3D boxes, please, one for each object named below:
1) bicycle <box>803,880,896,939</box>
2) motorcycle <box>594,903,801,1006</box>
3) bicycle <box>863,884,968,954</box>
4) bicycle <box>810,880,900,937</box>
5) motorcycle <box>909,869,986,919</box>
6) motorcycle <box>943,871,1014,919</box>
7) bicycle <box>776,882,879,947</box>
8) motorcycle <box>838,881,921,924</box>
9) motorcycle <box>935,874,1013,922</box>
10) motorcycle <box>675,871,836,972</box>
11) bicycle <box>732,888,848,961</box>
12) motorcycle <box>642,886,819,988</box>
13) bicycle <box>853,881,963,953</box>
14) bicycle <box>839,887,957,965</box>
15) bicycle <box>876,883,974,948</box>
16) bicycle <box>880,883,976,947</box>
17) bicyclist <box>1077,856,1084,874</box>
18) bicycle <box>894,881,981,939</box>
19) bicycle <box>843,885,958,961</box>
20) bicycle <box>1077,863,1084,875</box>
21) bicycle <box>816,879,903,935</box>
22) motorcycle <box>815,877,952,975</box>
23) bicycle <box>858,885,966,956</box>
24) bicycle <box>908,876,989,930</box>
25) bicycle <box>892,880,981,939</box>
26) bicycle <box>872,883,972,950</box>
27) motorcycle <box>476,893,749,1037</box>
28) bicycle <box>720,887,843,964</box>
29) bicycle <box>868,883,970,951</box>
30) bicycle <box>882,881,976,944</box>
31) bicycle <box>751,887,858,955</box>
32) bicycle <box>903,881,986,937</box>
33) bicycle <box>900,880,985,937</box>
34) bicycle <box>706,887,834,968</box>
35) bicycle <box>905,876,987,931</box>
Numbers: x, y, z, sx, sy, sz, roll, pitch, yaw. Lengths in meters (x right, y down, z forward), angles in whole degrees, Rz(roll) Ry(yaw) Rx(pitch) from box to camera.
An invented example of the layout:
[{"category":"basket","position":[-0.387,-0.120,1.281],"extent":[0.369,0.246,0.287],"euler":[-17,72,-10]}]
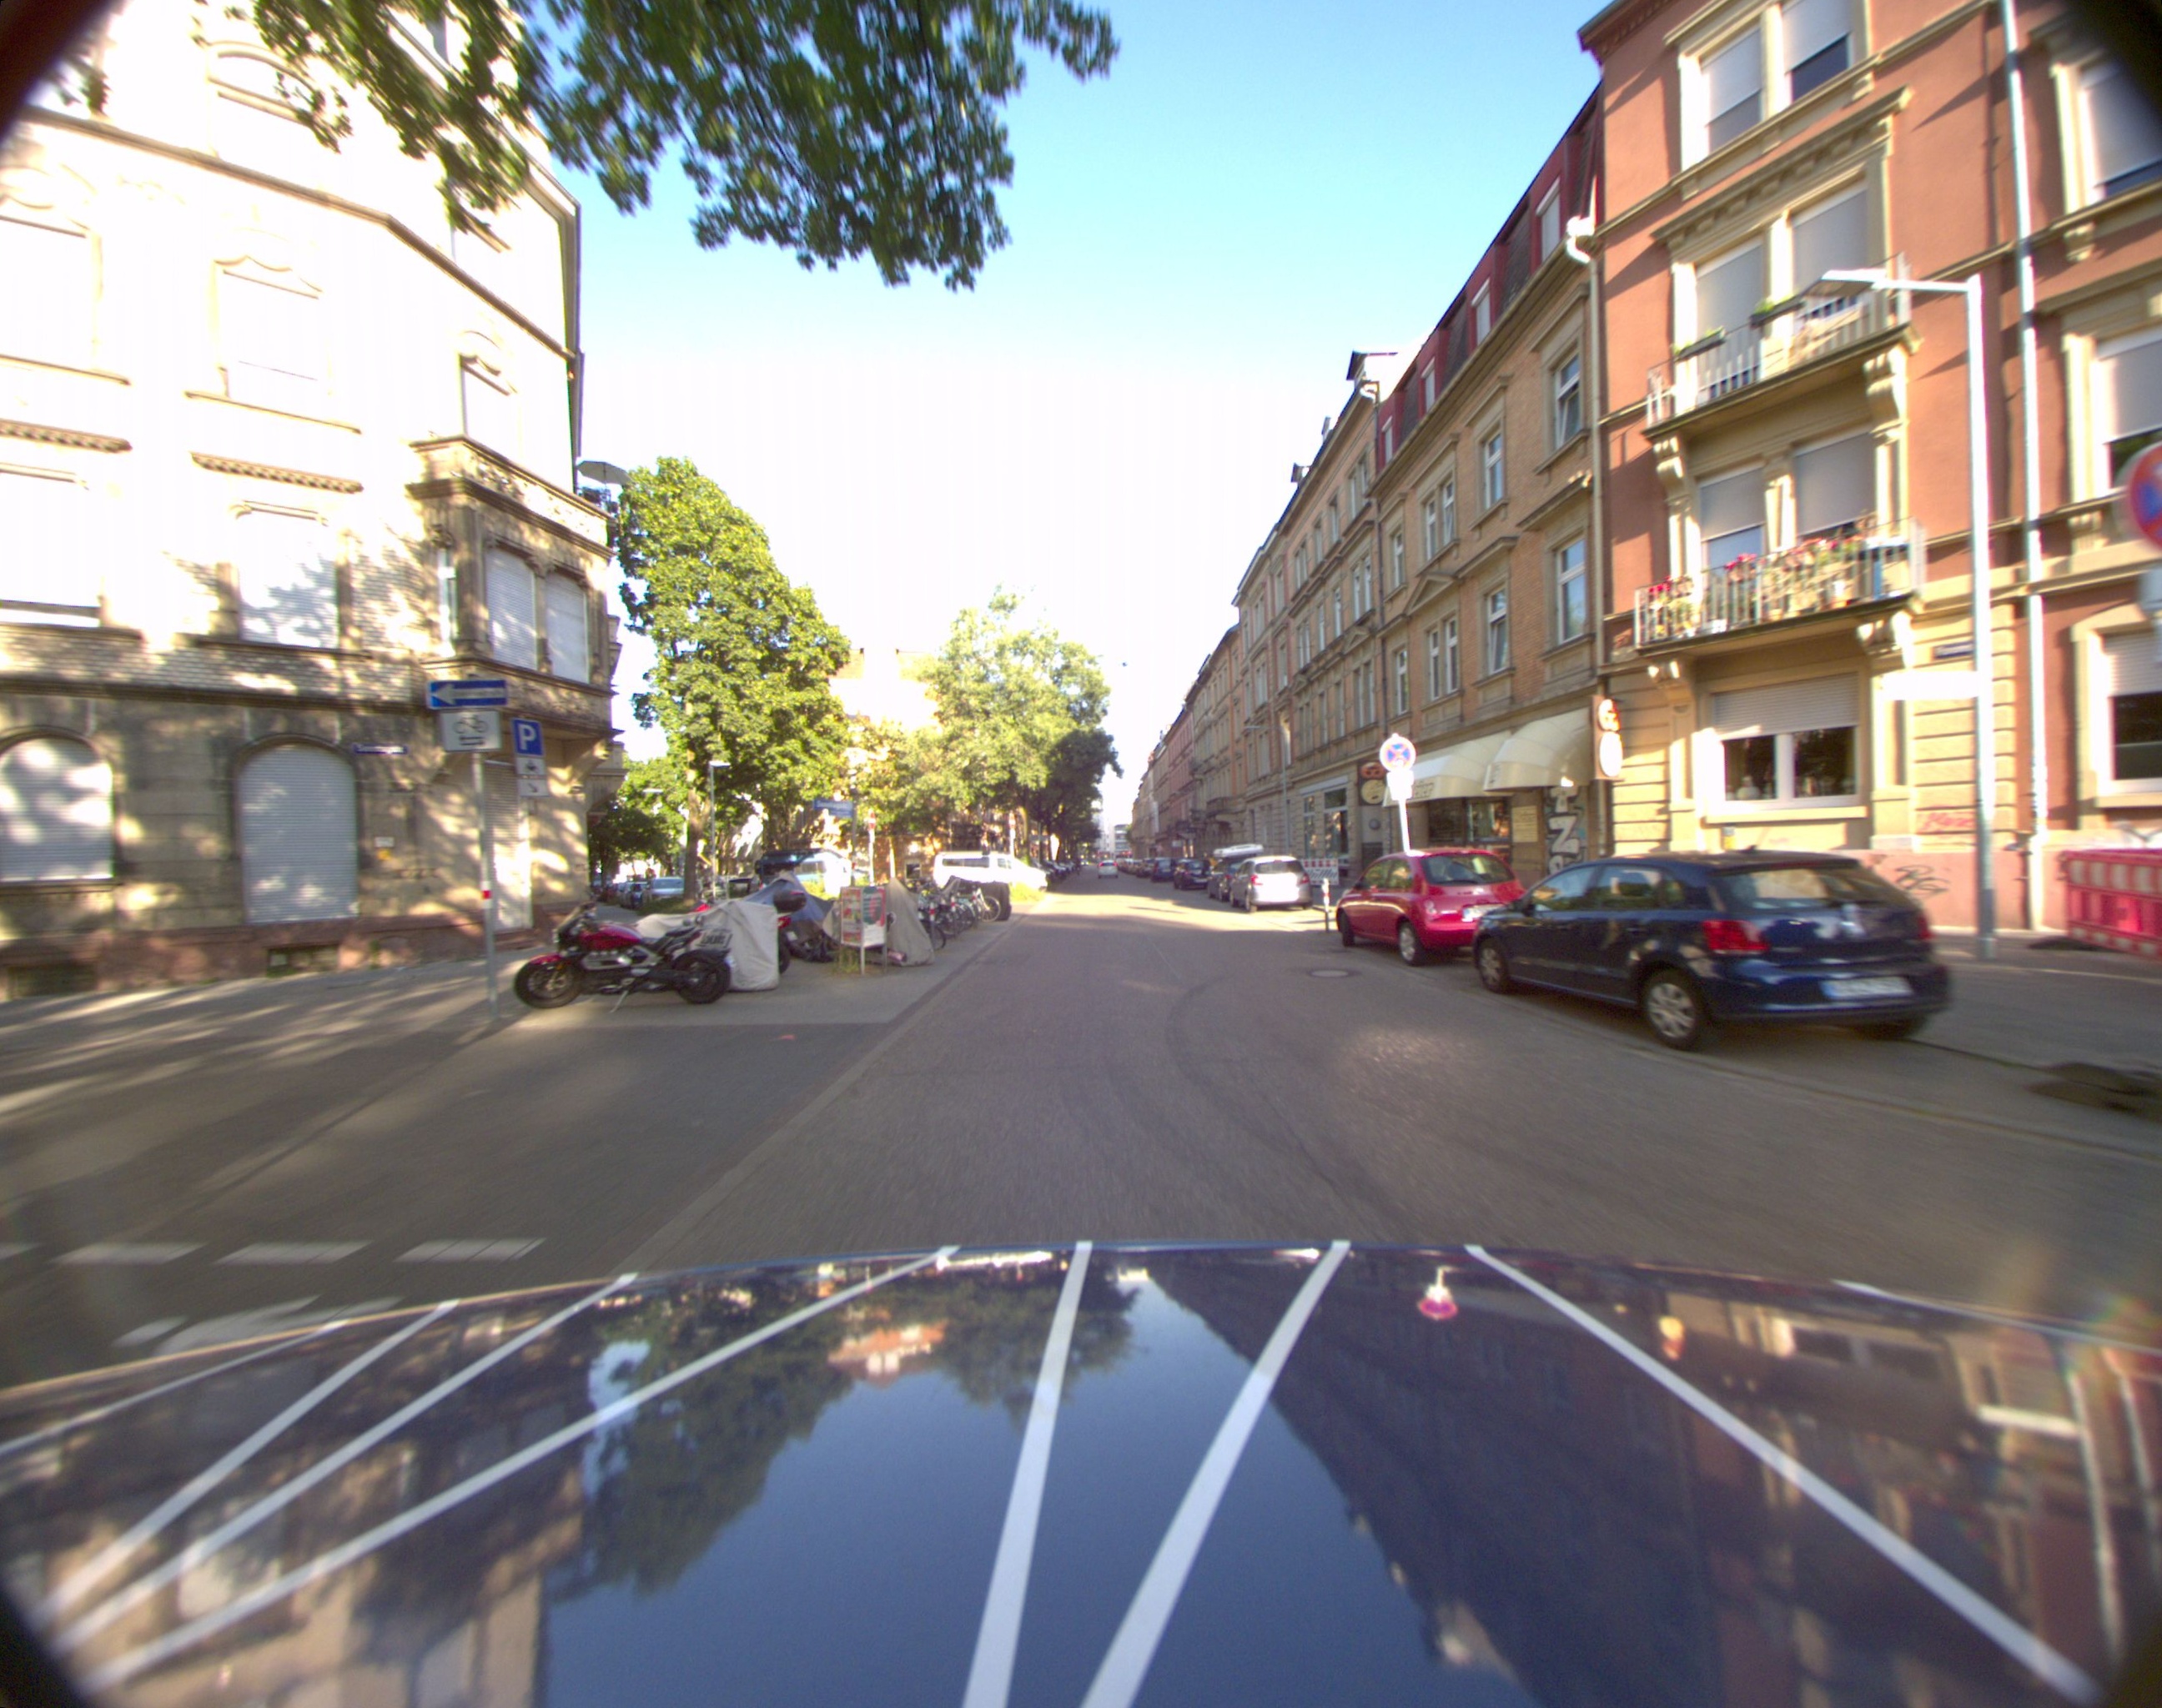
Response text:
[{"category":"bicycle","position":[-5.298,1.270,17.463],"extent":[1.930,1.239,0.479],"euler":[-3,0,-5]},{"category":"motorcycle","position":[-4.990,1.290,9.941],"extent":[2.286,1.173,0.972],"euler":[-2,1,14]},{"category":"bicycle","position":[-3.207,1.251,14.810],"extent":[1.930,1.239,0.303],"euler":[-3,0,-5]},{"category":"bicycle","position":[-5.341,1.276,17.984],"extent":[1.930,1.239,0.479],"euler":[-3,0,-5]},{"category":"motorcycle","position":[-3.806,1.142,21.744],"extent":[2.028,1.354,0.694],"euler":[-1,0,1]},{"category":"motorcycle","position":[-3.045,1.202,22.662],"extent":[2.020,1.320,0.621],"euler":[-2,1,-3]},{"category":"bicycle","position":[-5.274,1.257,15.899],"extent":[1.930,1.239,0.479],"euler":[-3,0,-5]},{"category":"motorcycle","position":[-5.505,1.311,20.878],"extent":[2.028,1.102,0.904],"euler":[-1,0,-1]},{"category":"motorcycle","position":[-2.899,1.190,20.750],"extent":[2.028,1.277,0.904],"euler":[0,0,-1]},{"category":"motorcycle","position":[-5.415,1.100,12.769],"extent":[2.289,1.523,0.755],"euler":[-3,1,-5]},{"category":"bicycle","position":[-5.467,1.322,14.351],"extent":[1.930,1.239,0.479],"euler":[-3,0,-5]},{"category":"motorcycle","position":[-4.968,1.181,10.797],"extent":[2.286,1.334,0.657],"euler":[-2,1,12]},{"category":"bicycle","position":[-3.235,1.177,14.258],"extent":[1.930,1.239,0.303],"euler":[-3,0,-5]},{"category":"bicycle","position":[-3.181,1.248,13.277],"extent":[1.930,1.239,0.303],"euler":[-3,0,-5]},{"category":"bicycle","position":[-3.231,1.281,15.830],"extent":[1.930,1.239,0.303],"euler":[-3,0,-5]},{"category":"bicycle","position":[-3.244,1.283,16.162],"extent":[1.930,1.239,0.303],"euler":[-3,0,-5]},{"category":"bicyclist","position":[-0.073,1.175,82.119],"extent":[0.712,1.865,1.120],"euler":[-1,0,1]},{"category":"bicycle","position":[-3.351,1.304,17.851],"extent":[1.930,1.239,0.303],"euler":[-3,0,-5]},{"category":"bicycle","position":[-3.209,1.227,13.600],"extent":[1.930,1.239,0.303],"euler":[-3,0,-5]},{"category":"bicycle","position":[-0.078,1.659,82.072],"extent":[0.712,1.252,1.888],"euler":[-1,0,1]},{"category":"bicycle","position":[-5.370,1.281,18.515],"extent":[1.930,1.239,0.479],"euler":[-3,0,-5]},{"category":"motorcycle","position":[-3.147,1.112,12.101],"extent":[1.933,1.404,0.942],"euler":[-2,0,29]},{"category":"bicycle","position":[-3.195,1.255,14.469],"extent":[1.930,1.239,0.303],"euler":[-3,0,-5]},{"category":"bicycle","position":[-3.336,1.242,19.302],"extent":[1.930,1.239,0.648],"euler":[-3,0,-5]},{"category":"bicycle","position":[-3.323,1.272,17.515],"extent":[1.930,1.239,0.303],"euler":[-3,0,-5]},{"category":"bicycle","position":[-3.229,1.269,15.509],"extent":[1.911,1.239,0.303],"euler":[-3,0,-5]},{"category":"motorcycle","position":[-5.149,1.190,8.546],"extent":[2.372,1.334,0.940],"euler":[-3,1,-9]},{"category":"bicycle","position":[-5.287,1.255,13.482],"extent":[1.930,1.239,0.479],"euler":[-3,0,-5]},{"category":"bicycle","position":[-3.217,1.243,15.167],"extent":[1.930,1.239,0.303],"euler":[-3,0,-5]},{"category":"bicycle","position":[-3.288,1.264,16.501],"extent":[1.930,1.239,0.303],"euler":[-3,0,-5]},{"category":"bicycle","position":[-5.583,1.343,15.399],"extent":[1.930,1.239,0.479],"euler":[-3,0,-5]},{"category":"bicycle","position":[-3.309,1.325,18.495],"extent":[1.930,1.239,0.303],"euler":[-3,0,-5]},{"category":"bicycle","position":[-3.292,1.290,18.165],"extent":[1.930,1.239,0.303],"euler":[-3,0,-5]},{"category":"bicycle","position":[-5.286,1.235,12.969],"extent":[1.930,1.239,0.452],"euler":[-3,0,-5]},{"category":"bicycle","position":[-3.320,1.223,18.802],"extent":[1.930,1.239,0.303],"euler":[-3,0,-5]}]
